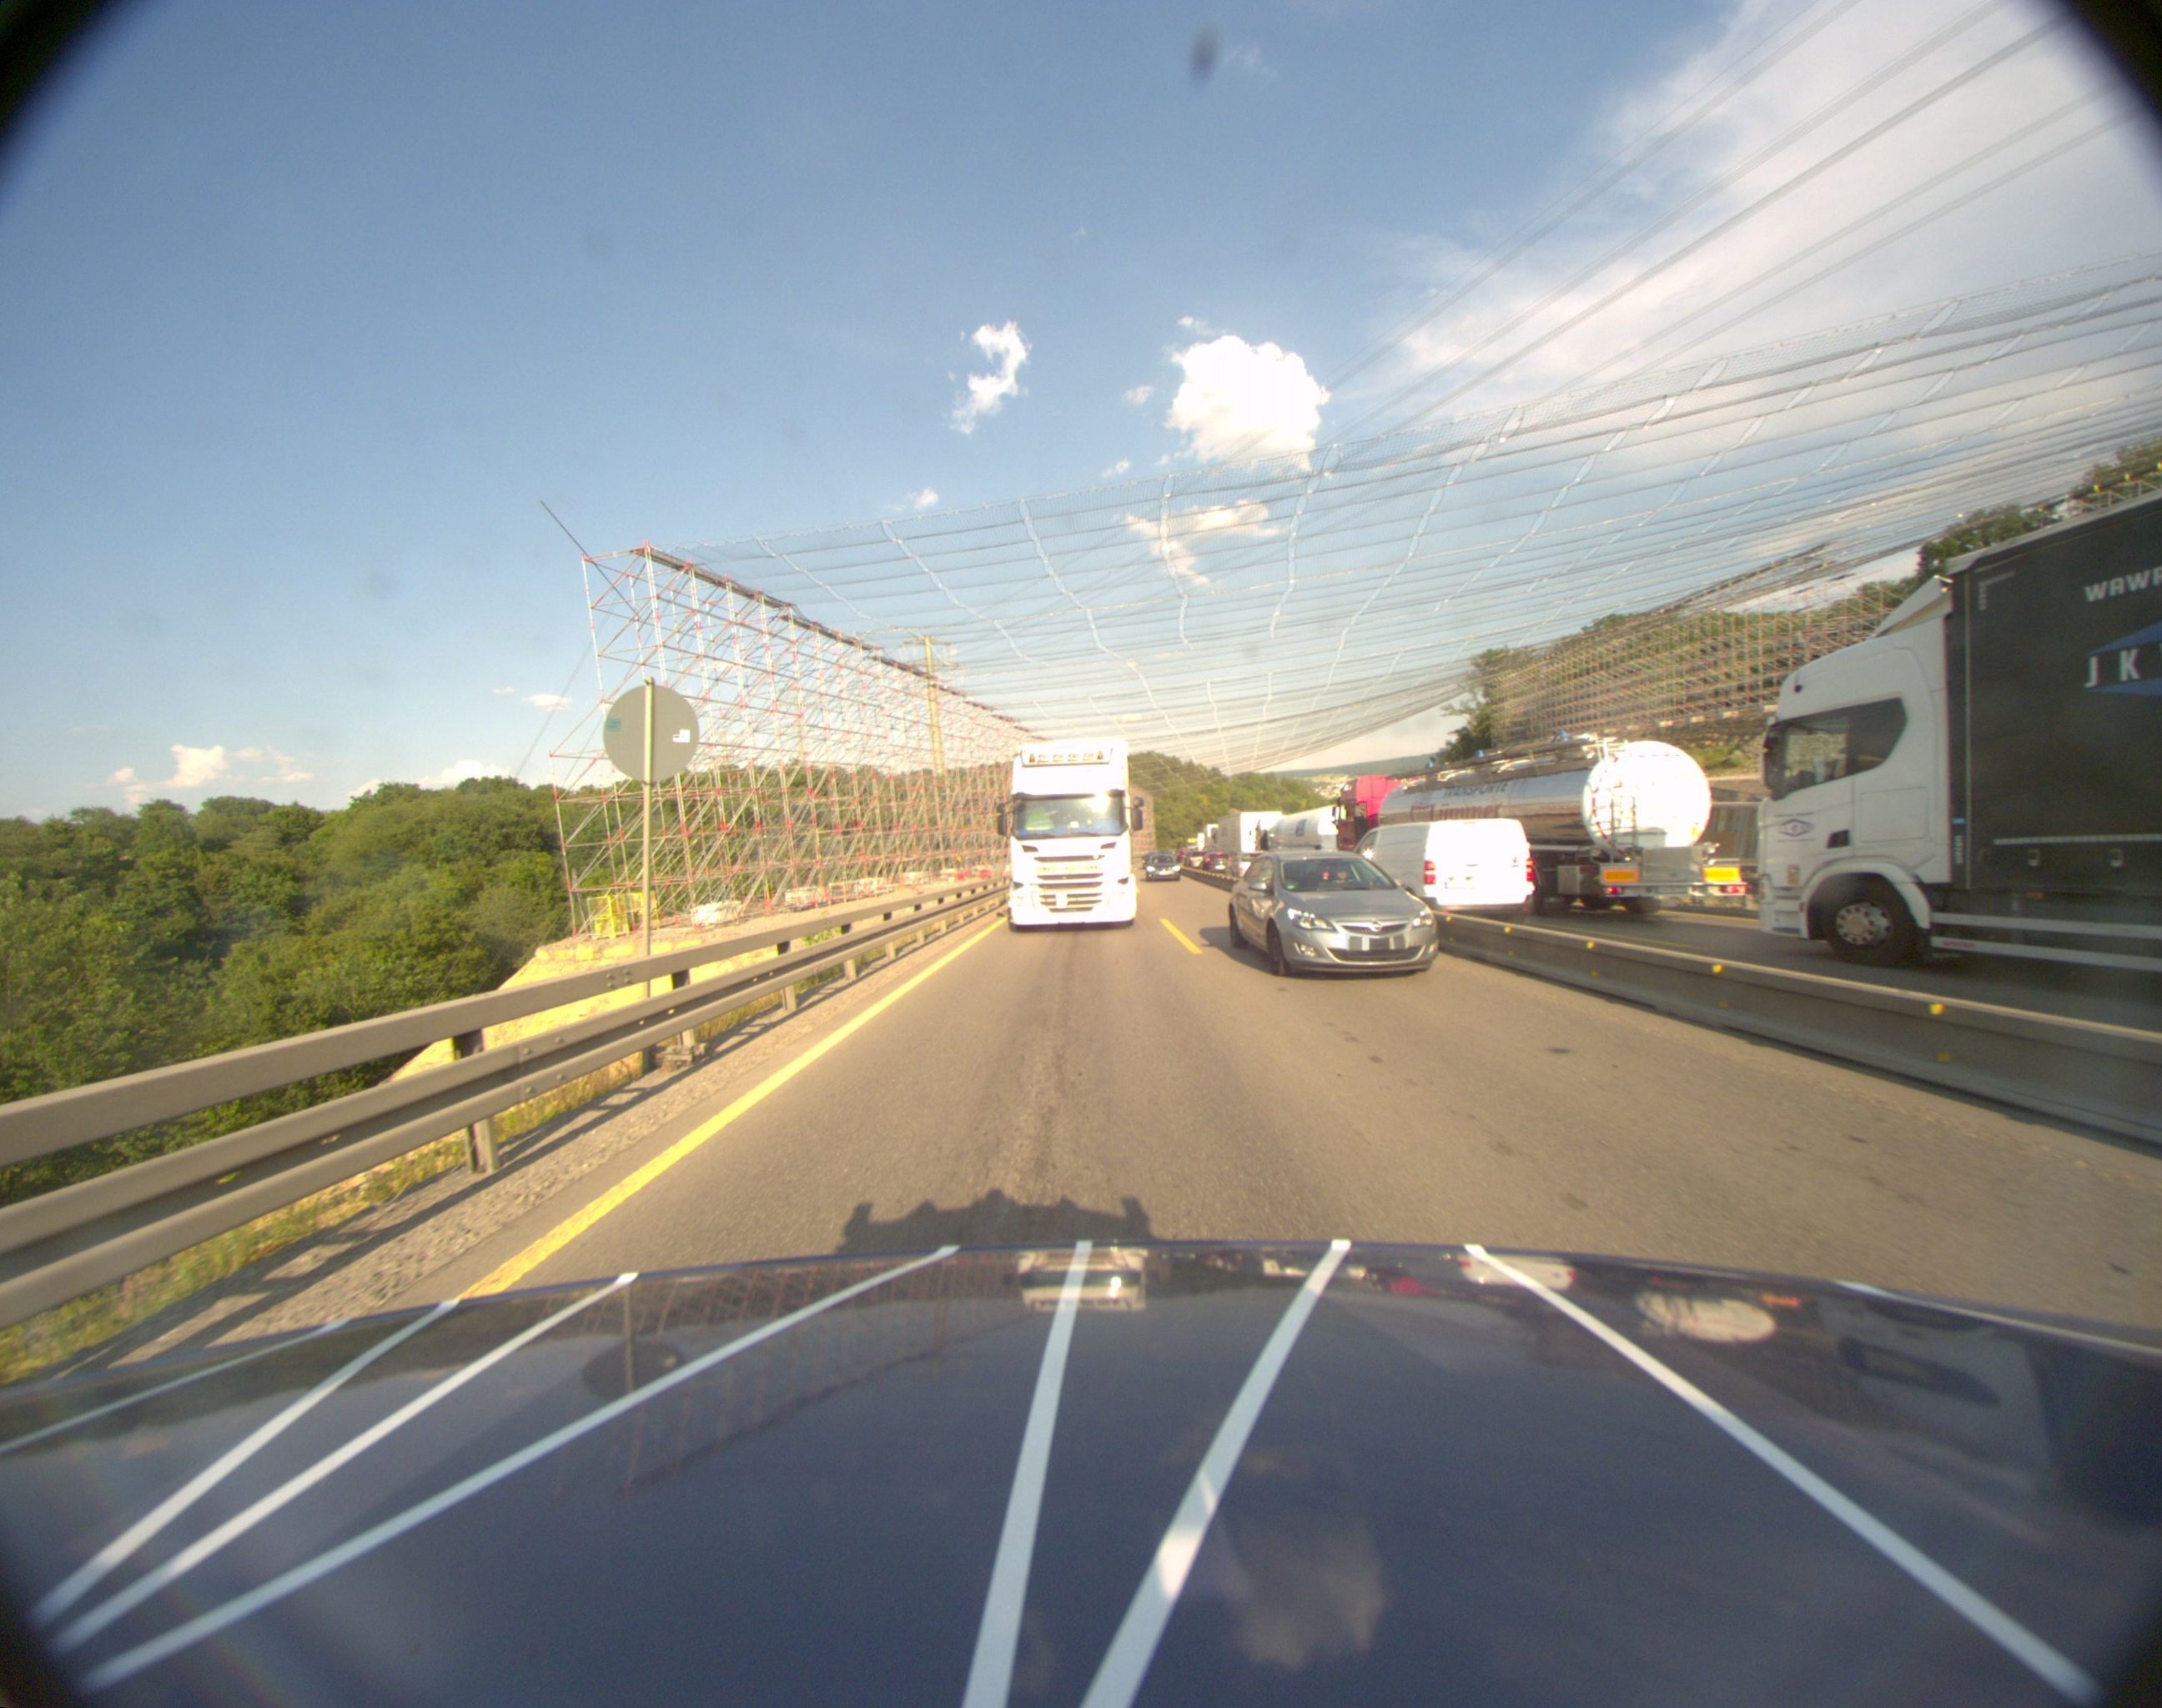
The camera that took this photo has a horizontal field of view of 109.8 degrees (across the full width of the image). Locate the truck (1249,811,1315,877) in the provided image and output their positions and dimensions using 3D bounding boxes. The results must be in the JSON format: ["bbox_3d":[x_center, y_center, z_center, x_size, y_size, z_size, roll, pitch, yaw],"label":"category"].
[{"bbox_3d":[10.988,-0.561,41.947,2.419,3.351,5.618,-2,1,4],"label":"truck"}]

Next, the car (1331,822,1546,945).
[{"bbox_3d":[6.556,0.442,14.634,1.821,1.914,4.835,-2,1,0],"label":"car"}]

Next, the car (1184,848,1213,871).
[{"bbox_3d":[8.726,0.358,56.748,1.754,1.577,3.943,-2,1,4],"label":"car"}]

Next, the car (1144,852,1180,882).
[{"bbox_3d":[4.211,0.642,40.000,1.764,1.376,3.823,-2,1,5],"label":"car"}]

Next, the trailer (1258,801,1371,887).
[{"bbox_3d":[10.646,-0.463,36.141,2.312,3.342,12.054,-2,1,4],"label":"trailer"}]

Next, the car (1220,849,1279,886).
[{"bbox_3d":[7.277,0.538,33.261,1.631,1.418,4.657,-2,1,2],"label":"car"}]

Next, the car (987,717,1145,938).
[{"bbox_3d":[-0.232,-0.547,18.509,2.858,4.092,8.279,-2,1,1],"label":"car"}]

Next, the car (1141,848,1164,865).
[{"bbox_3d":[6.244,0.181,66.498,1.675,1.376,3.822,-2,1,1],"label":"car"}]

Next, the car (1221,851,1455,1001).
[{"bbox_3d":[3.044,0.739,10.005,1.760,1.464,4.353,-2,1,3],"label":"car"}]

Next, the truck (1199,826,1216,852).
[{"bbox_3d":[22.127,-2.576,132.776,2.726,4.203,14.176,-2,1,9],"label":"truck"}]

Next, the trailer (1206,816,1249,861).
[{"bbox_3d":[14.217,-1.472,74.890,2.675,3.992,13.336,-2,1,5],"label":"trailer"}]

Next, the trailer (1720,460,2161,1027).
[{"bbox_3d":[9.442,-0.846,4.542,2.482,4.304,10.510,-2,1,1],"label":"trailer"}]

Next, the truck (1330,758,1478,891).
[{"bbox_3d":[10.223,-0.886,24.706,2.438,3.763,5.617,-2,1,1],"label":"truck"}]

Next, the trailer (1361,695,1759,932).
[{"bbox_3d":[10.014,-0.731,18.392,2.312,3.768,12.052,-2,1,2],"label":"trailer"}]

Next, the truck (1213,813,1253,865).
[{"bbox_3d":[12.465,-1.206,62.707,2.479,4.022,5.618,-2,1,4],"label":"truck"}]

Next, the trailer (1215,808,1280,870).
[{"bbox_3d":[11.955,-1.052,55.815,2.433,3.940,14.100,-2,1,4],"label":"trailer"}]

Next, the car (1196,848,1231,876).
[{"bbox_3d":[7.712,0.431,44.387,1.510,1.520,3.587,-2,1,3],"label":"car"}]

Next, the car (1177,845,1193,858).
[{"bbox_3d":[12.100,-0.291,88.483,1.611,1.368,3.901,-2,1,4],"label":"car"}]
